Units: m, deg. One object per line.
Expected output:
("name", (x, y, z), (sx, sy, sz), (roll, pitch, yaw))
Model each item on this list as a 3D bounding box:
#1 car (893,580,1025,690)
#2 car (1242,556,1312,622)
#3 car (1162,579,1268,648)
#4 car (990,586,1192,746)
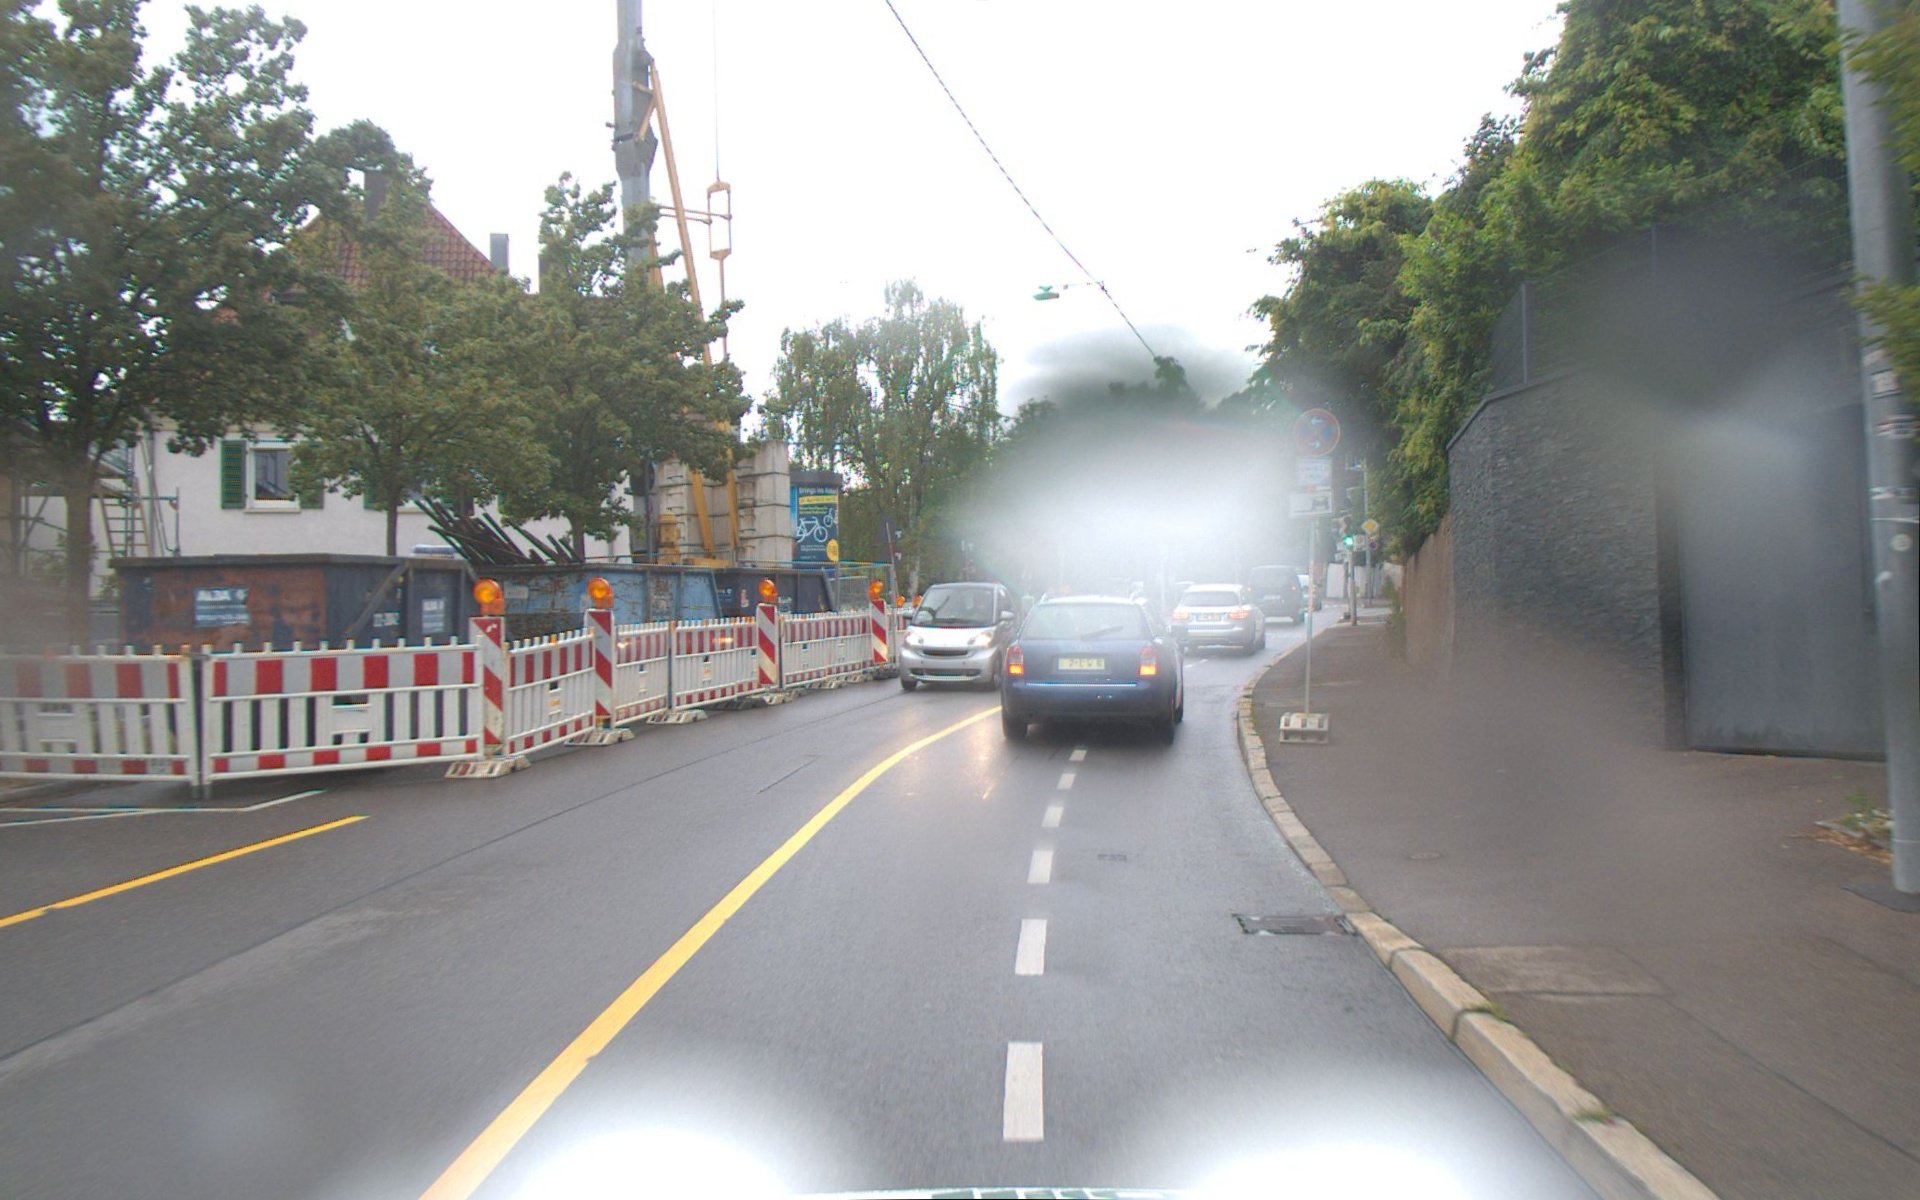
("car", (0.033, 0.482, 24.984), (1.424, 1.553, 2.926), (0, 0, 12))
("car", (10.126, -0.377, 52.625), (1.694, 1.927, 4.058), (-3, 0, 16))
("car", (5.622, 0.282, 36.052), (1.868, 1.413, 4.354), (0, 0, 14))
("car", (1.484, 0.594, 17.360), (1.739, 1.464, 4.004), (0, 0, 10))
